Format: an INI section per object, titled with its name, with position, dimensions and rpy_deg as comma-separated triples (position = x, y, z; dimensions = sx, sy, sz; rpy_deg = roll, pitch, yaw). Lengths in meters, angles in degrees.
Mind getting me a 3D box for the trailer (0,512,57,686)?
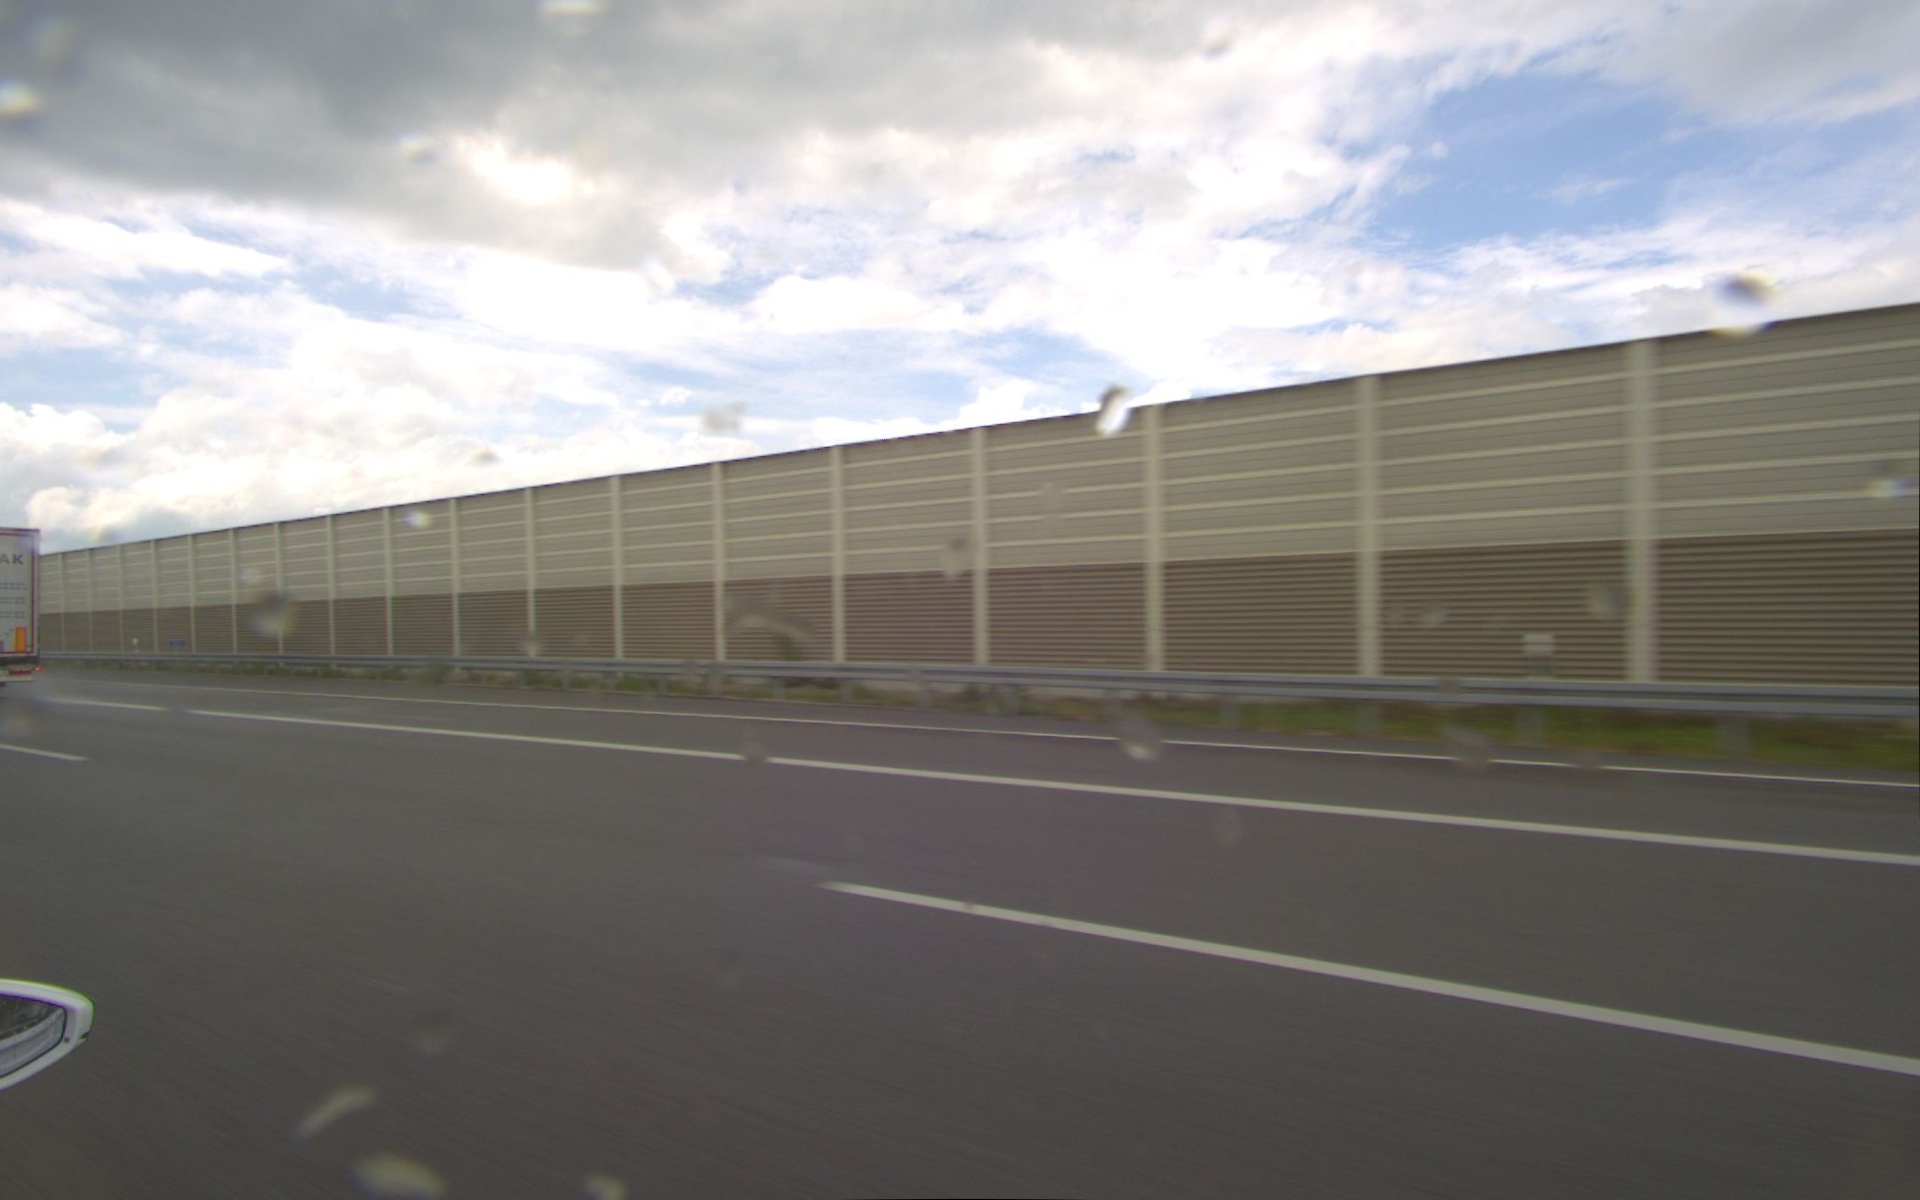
[trailer]
position = -28.671, 0.127, 27.002
dimensions = 14.248, 4.084, 2.756
rpy_deg = -1, -1, 33
